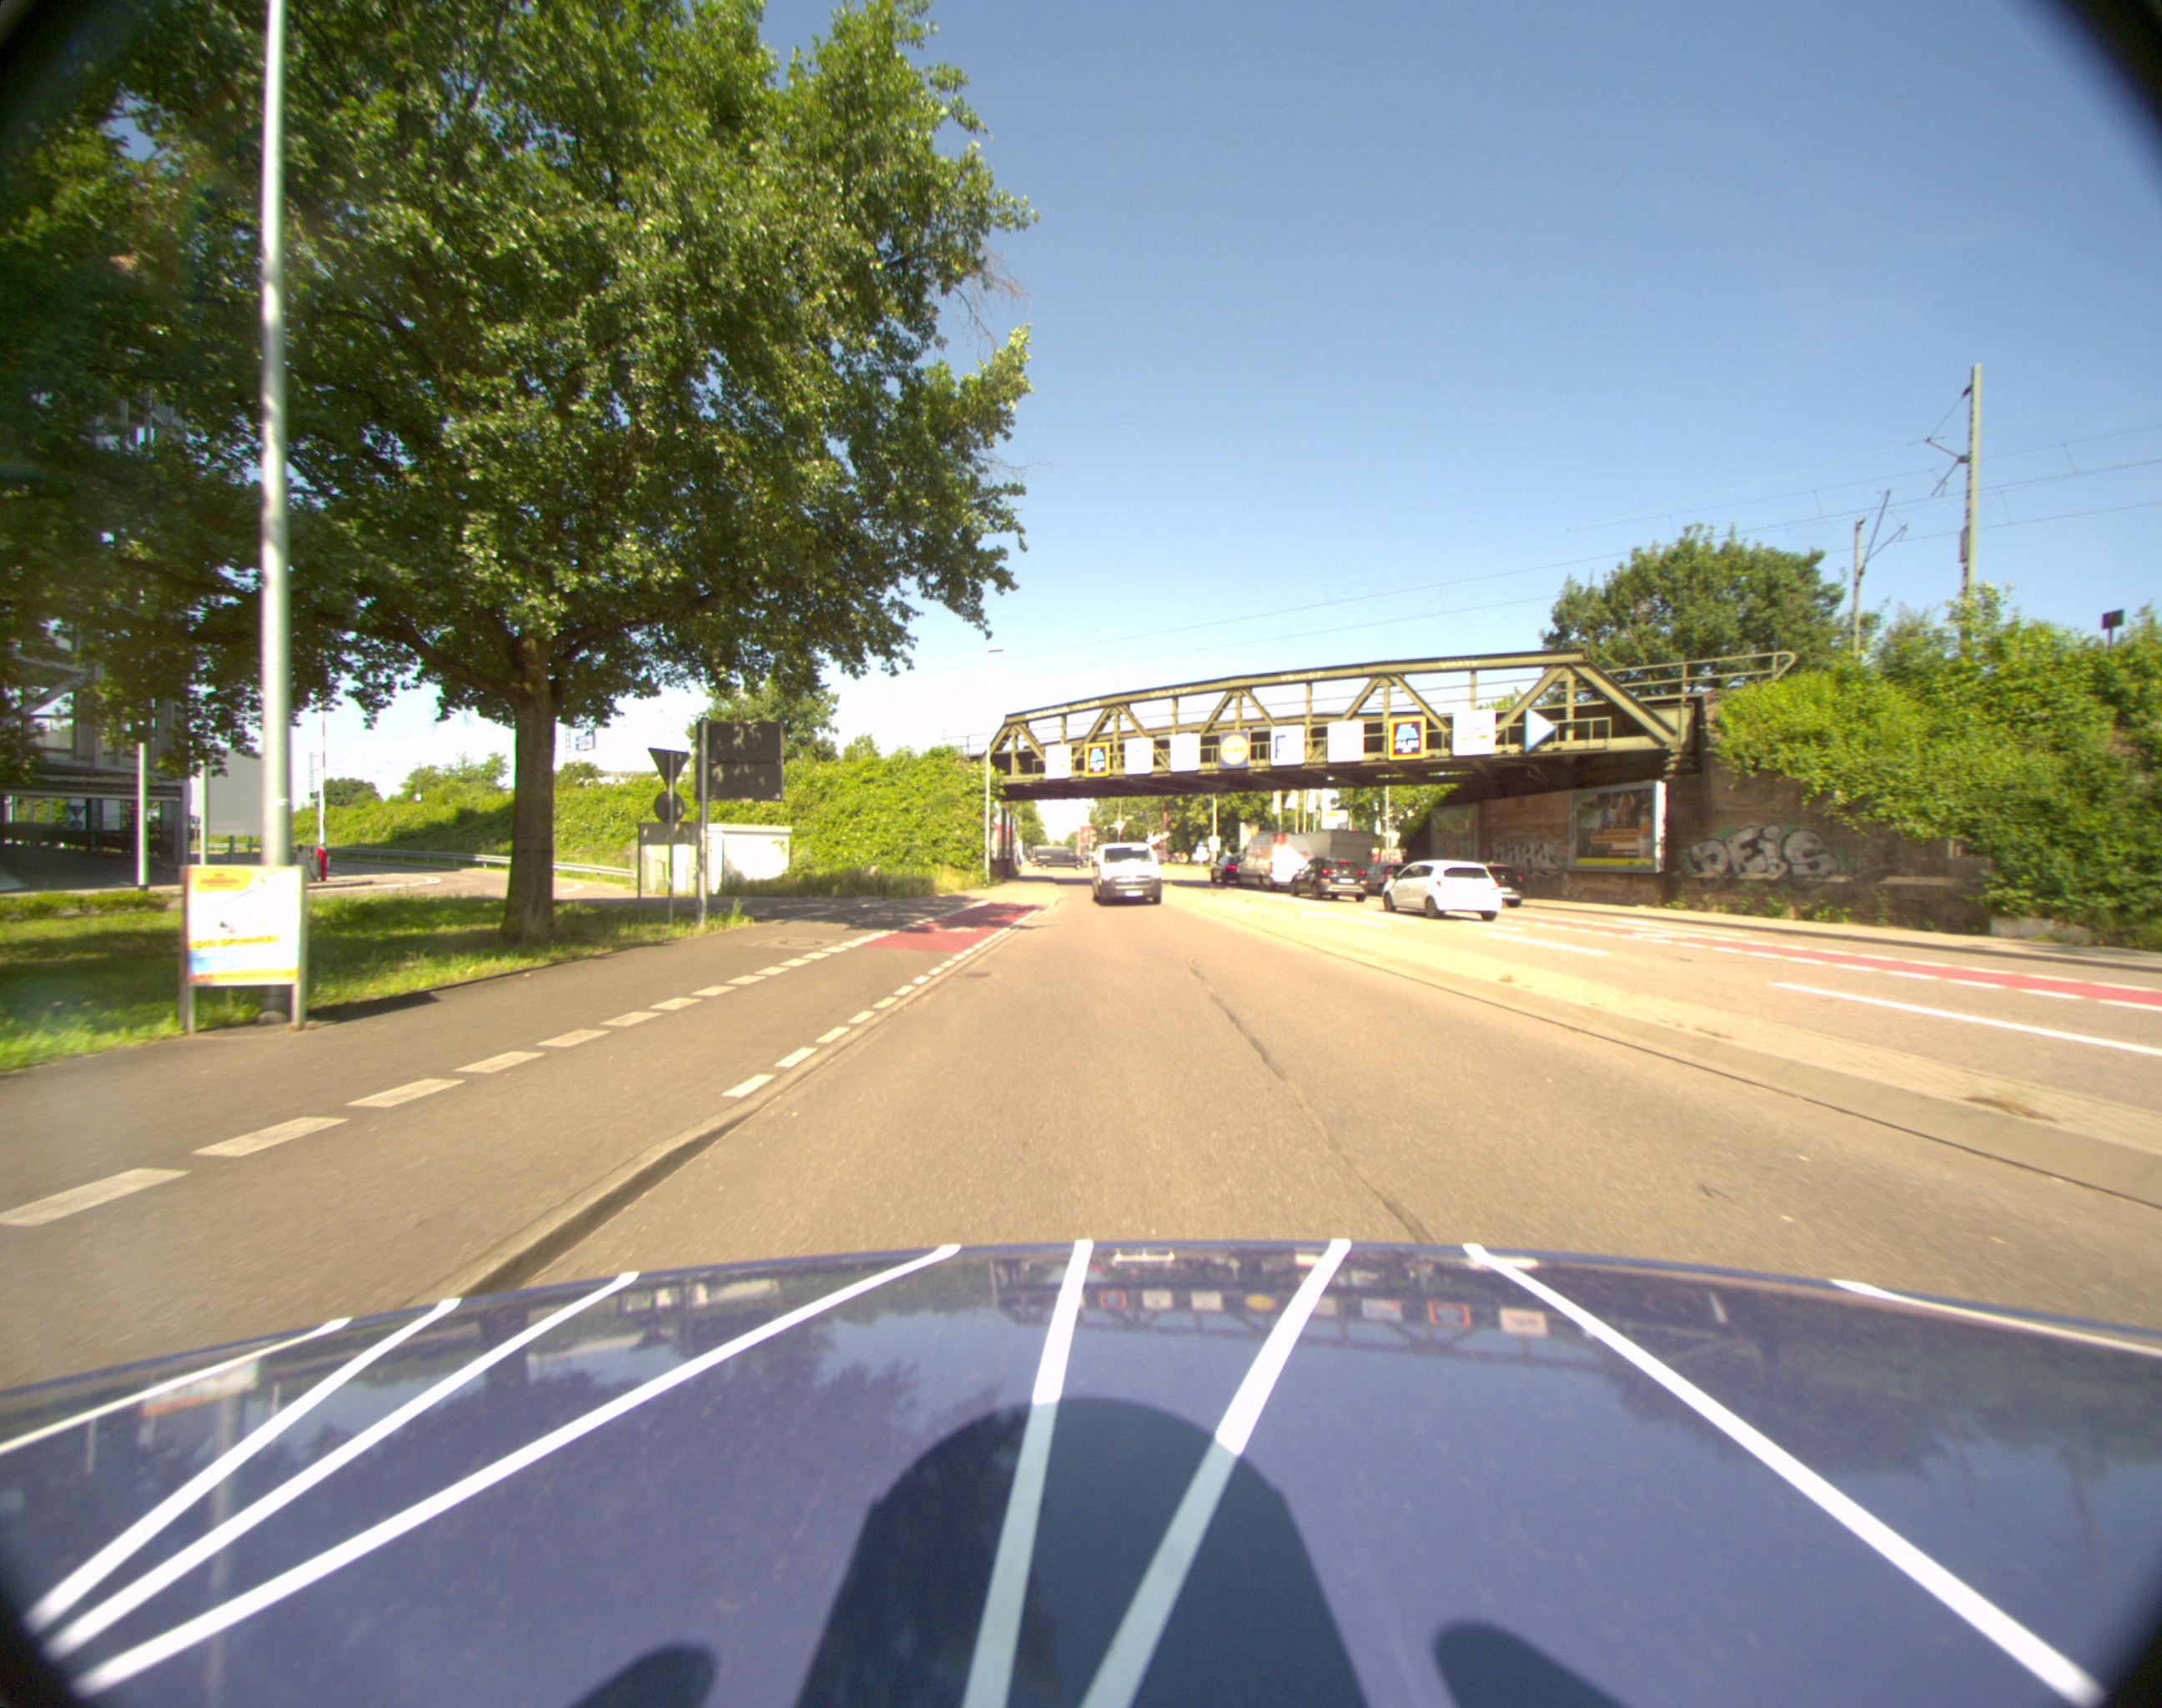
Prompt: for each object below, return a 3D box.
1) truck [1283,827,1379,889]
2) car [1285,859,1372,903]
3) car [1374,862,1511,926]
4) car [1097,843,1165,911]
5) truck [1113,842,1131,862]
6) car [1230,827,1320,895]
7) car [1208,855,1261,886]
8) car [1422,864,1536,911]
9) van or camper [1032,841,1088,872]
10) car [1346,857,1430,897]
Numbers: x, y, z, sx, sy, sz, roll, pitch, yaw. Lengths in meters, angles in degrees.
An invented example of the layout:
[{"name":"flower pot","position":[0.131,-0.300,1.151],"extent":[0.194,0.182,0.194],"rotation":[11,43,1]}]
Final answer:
[{"name":"truck","position":[13.390,0.191,41.350],"extent":[2.348,3.070,7.066],"rotation":[0,0,-5]},{"name":"car","position":[9.108,0.973,28.352],"extent":[1.773,1.485,4.177],"rotation":[2,-1,-1]},{"name":"car","position":[9.403,0.980,20.127],"extent":[1.647,1.485,3.828],"rotation":[2,-1,-3]},{"name":"car","position":[1.504,0.677,24.733],"extent":[1.886,1.982,4.974],"rotation":[0,0,0]},{"name":"truck","position":[8.695,-0.366,162.688],"extent":[2.940,3.966,8.153],"rotation":[-2,-1,-2]},{"name":"car","position":[8.922,0.296,35.759],"extent":[1.999,2.789,6.935],"rotation":[2,0,-3]},{"name":"car","position":[8.806,0.914,44.036],"extent":[1.999,1.672,4.949],"rotation":[0,0,-1]},{"name":"car","position":[14.131,1.152,27.273],"extent":[1.773,1.485,4.177],"rotation":[2,-1,-1]},{"name":"van or camper","position":[-2.296,0.260,82.916],"extent":[5.780,3.136,2.599],"rotation":[-2,0,-6]},{"name":"car","position":[14.027,1.016,34.964],"extent":[1.989,1.679,4.287],"rotation":[2,-1,-1]}]
